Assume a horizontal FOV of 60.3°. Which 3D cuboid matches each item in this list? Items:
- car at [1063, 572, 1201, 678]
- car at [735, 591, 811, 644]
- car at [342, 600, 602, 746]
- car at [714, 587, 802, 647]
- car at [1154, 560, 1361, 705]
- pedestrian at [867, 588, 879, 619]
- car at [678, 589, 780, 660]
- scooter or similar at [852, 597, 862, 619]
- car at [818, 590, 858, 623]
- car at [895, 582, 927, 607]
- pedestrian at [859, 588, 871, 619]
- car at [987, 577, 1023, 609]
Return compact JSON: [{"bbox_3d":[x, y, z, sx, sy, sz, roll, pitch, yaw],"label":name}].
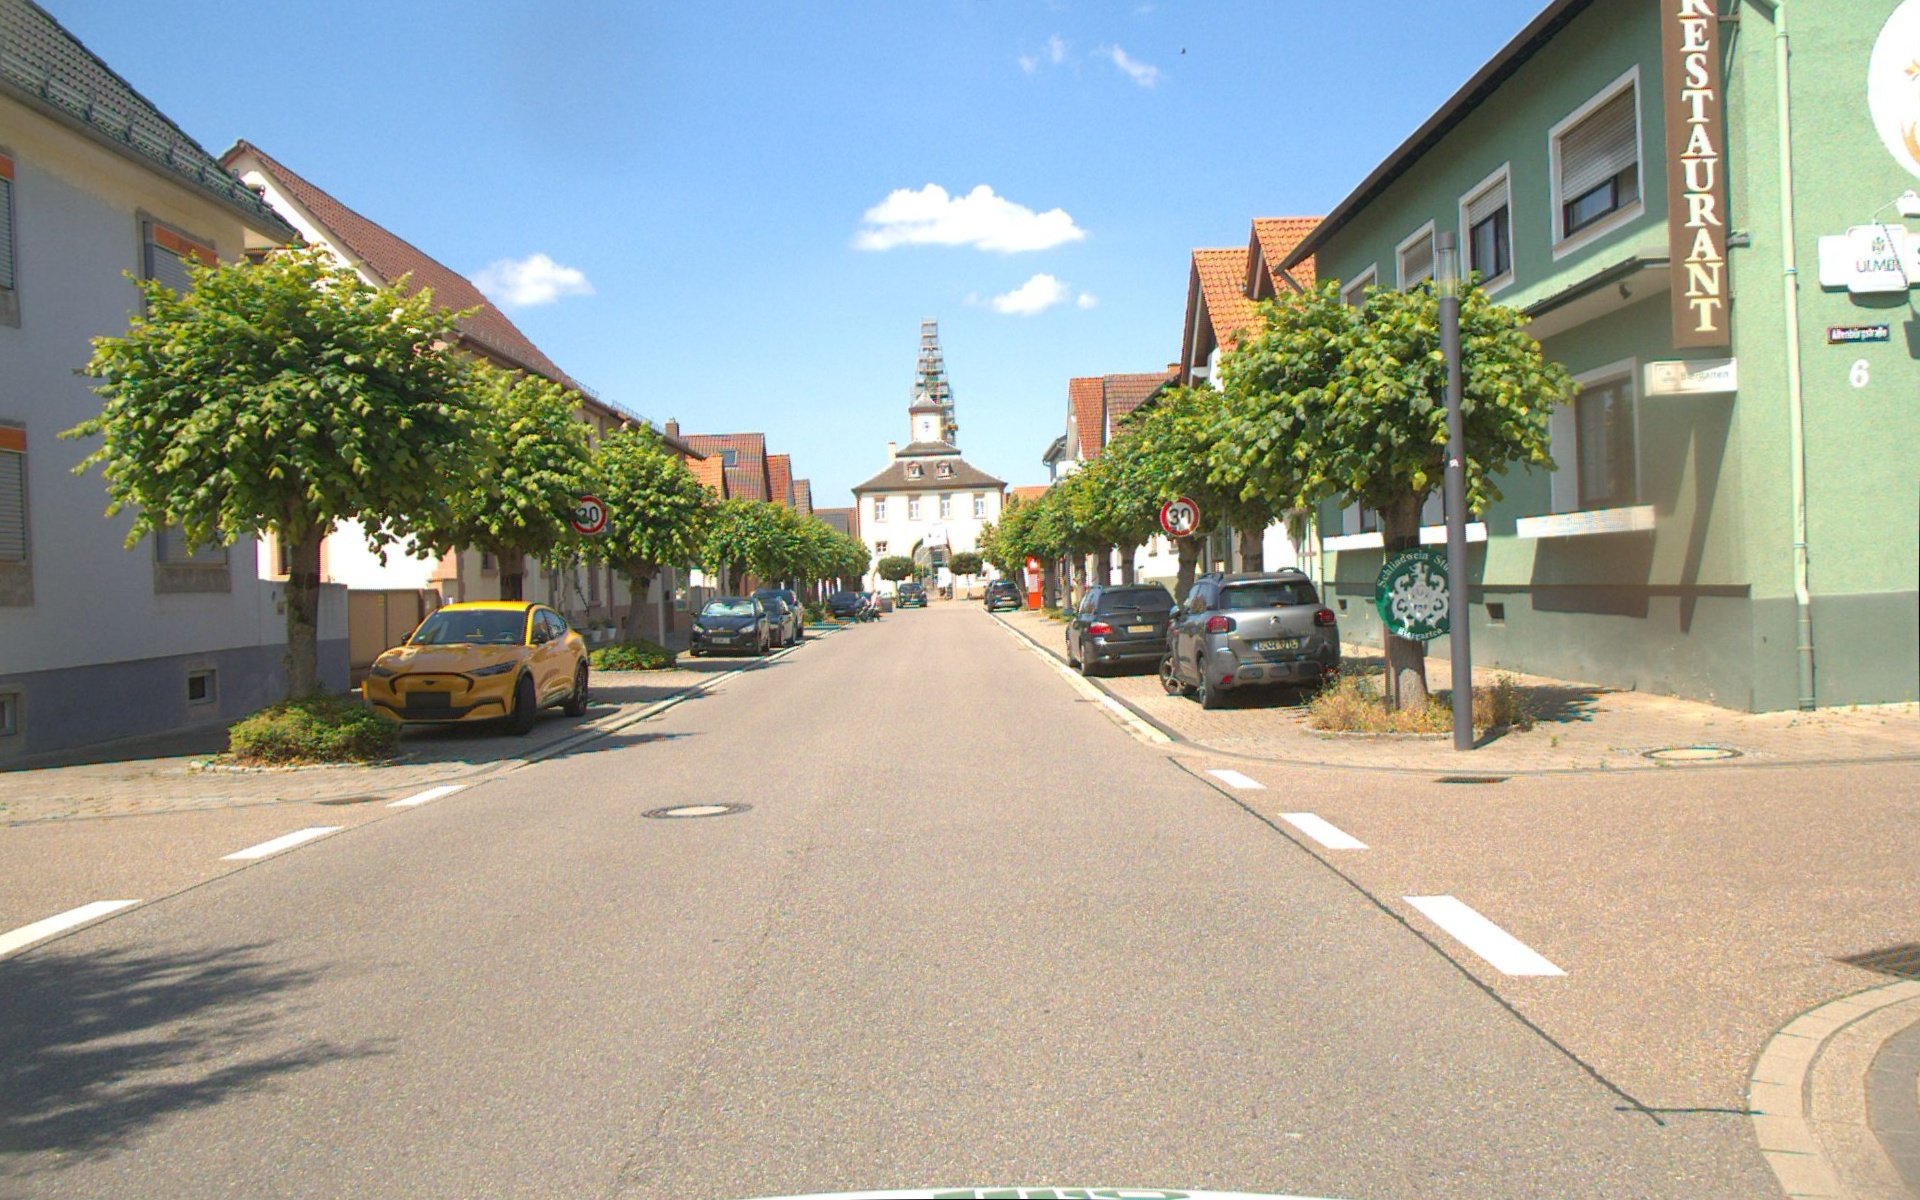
[{"bbox_3d":[2.924,0.388,28.955,1.800,1.582,4.313,-4,1,-1],"label":"car"},{"bbox_3d":[-6.252,0.559,55.821,1.953,1.639,4.689,-2,0,0],"label":"car"},{"bbox_3d":[-6.218,0.852,21.698,1.952,1.639,4.689,-1,0,0],"label":"car"},{"bbox_3d":[-5.904,0.476,48.856,1.952,1.639,4.689,-1,0,0],"label":"car"},{"bbox_3d":[3.745,0.367,21.484,1.800,1.635,3.999,-2,1,-2],"label":"car"},{"bbox_3d":[-4.013,0.166,76.399,0.352,1.427,0.319,-3,0,37],"label":"pedestrian"},{"bbox_3d":[-5.945,0.587,43.125,1.952,1.639,4.689,-1,1,0],"label":"car"},{"bbox_3d":[-4.800,0.379,76.984,0.323,1.020,0.240,-3,0,37],"label":"scooter or similar"},{"bbox_3d":[-6.298,0.318,86.007,1.722,1.582,4.020,-3,1,0],"label":"car"},{"bbox_3d":[-3.375,-0.375,112.994,1.954,1.639,4.501,-1,0,-5],"label":"car"},{"bbox_3d":[-4.427,0.176,77.233,0.352,1.427,0.319,-3,0,37],"label":"pedestrian"},{"bbox_3d":[2.481,-0.395,92.072,1.800,1.582,4.313,-4,1,0],"label":"car"}]
